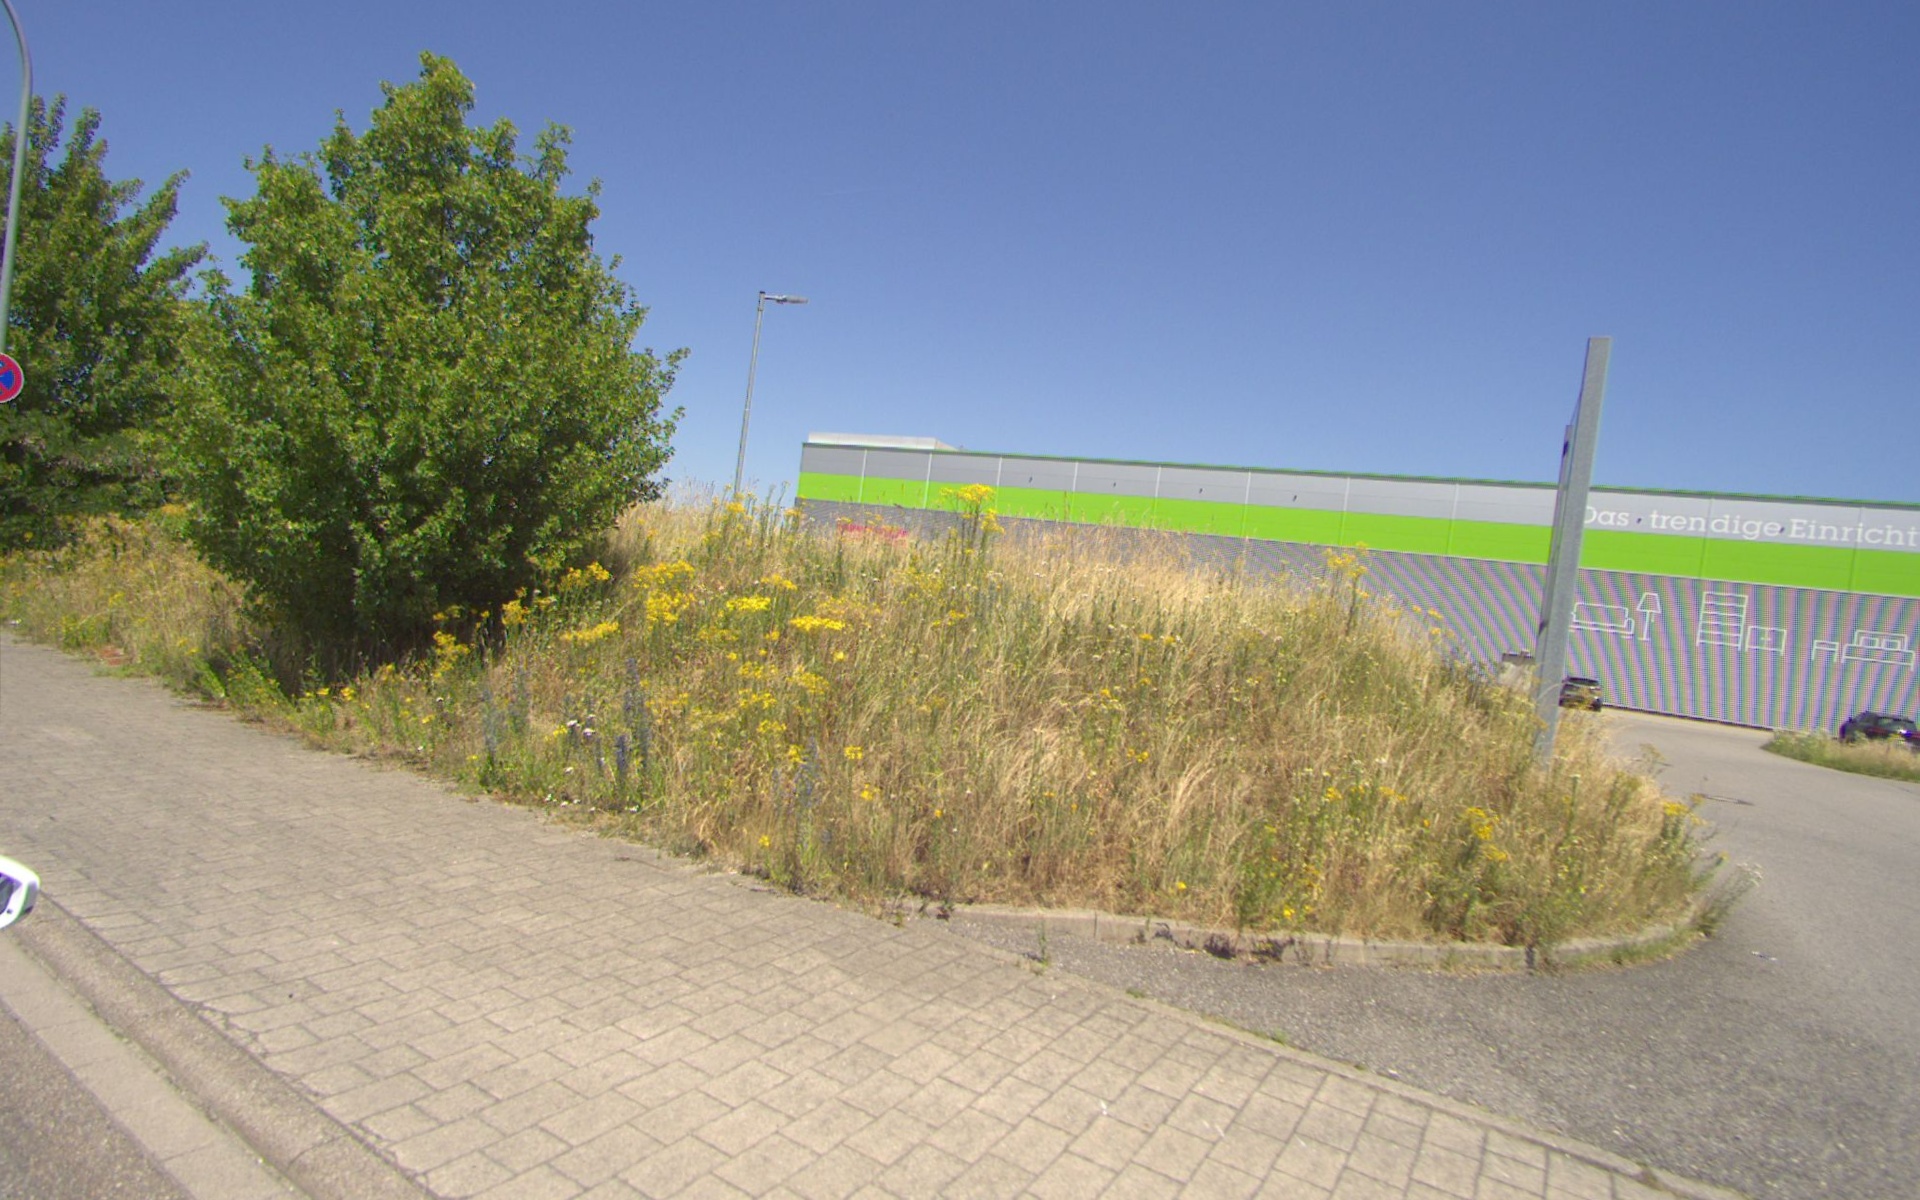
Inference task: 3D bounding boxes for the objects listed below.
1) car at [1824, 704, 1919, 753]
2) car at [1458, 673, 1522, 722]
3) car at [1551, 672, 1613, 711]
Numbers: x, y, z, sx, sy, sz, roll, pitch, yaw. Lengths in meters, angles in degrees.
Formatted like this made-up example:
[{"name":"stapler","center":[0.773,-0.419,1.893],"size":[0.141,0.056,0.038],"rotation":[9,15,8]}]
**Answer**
[{"name":"car","center":[40.571,5.656,44.647],"size":[1.964,1.538,4.663],"rotation":[7,0,24]},{"name":"car","center":[21.744,3.963,41.412],"size":[1.964,1.538,3.996],"rotation":[7,0,25]},{"name":"car","center":[31.244,4.554,50.621],"size":[1.964,1.538,3.996],"rotation":[7,0,24]}]
